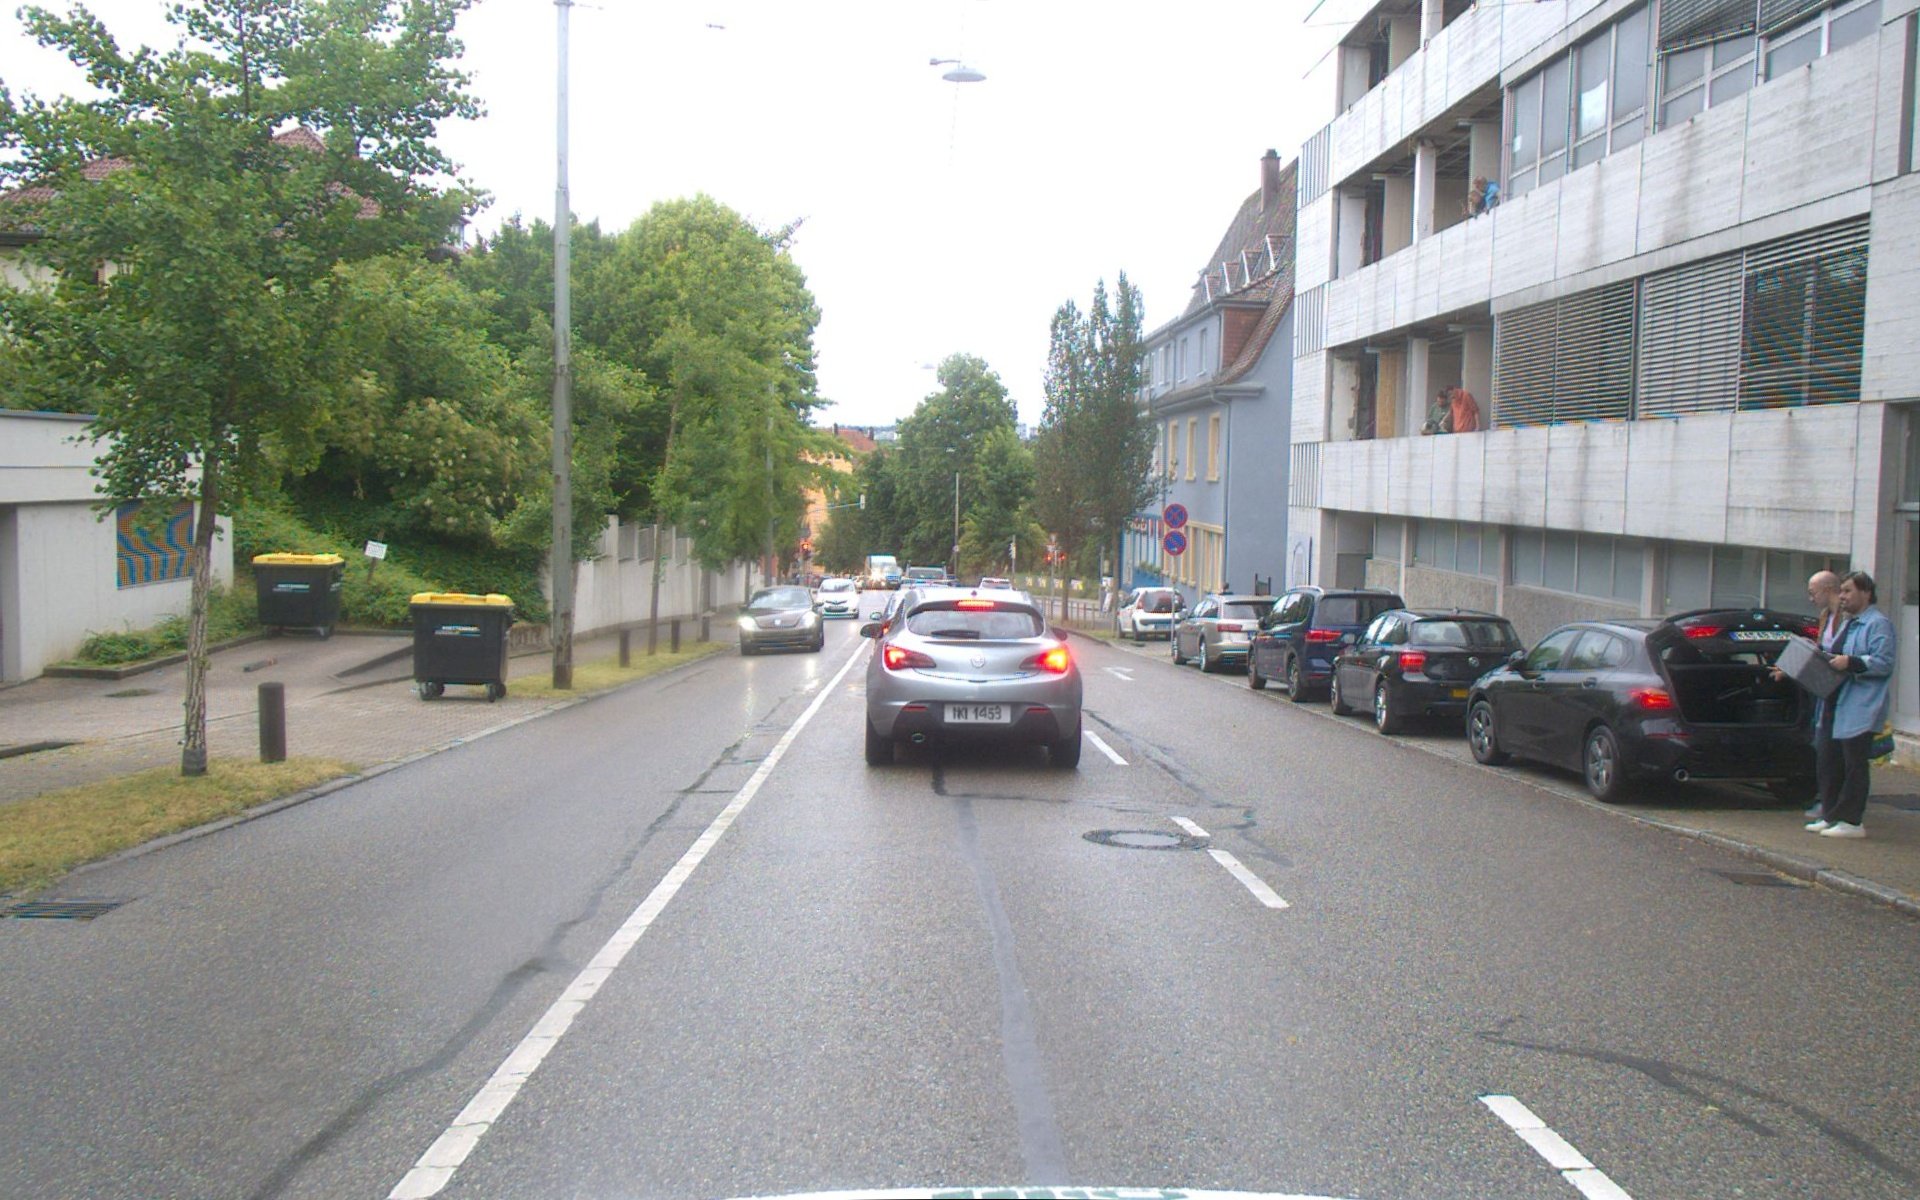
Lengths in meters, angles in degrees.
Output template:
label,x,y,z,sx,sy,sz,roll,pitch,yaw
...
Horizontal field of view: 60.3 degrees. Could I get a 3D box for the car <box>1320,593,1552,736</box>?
label,x,y,z,sx,sy,sz,roll,pitch,yaw
car,5.702,0.703,20.290,1.647,1.489,4.000,0,2,-1

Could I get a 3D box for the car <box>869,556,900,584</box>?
label,x,y,z,sx,sy,sz,roll,pitch,yaw
car,-5.419,-2.185,118.922,1.953,1.815,4.000,4,1,-1

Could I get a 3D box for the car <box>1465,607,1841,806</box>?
label,x,y,z,sx,sy,sz,roll,pitch,yaw
car,5.879,0.817,14.561,1.473,1.460,3.998,0,0,-3

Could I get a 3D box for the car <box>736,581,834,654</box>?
label,x,y,z,sx,sy,sz,roll,pitch,yaw
car,-3.967,0.361,37.977,1.812,1.494,4.087,-2,1,-1

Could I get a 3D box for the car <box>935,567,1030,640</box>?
label,x,y,z,sx,sy,sz,roll,pitch,yaw
car,0.495,0.047,40.265,1.922,1.497,3.949,4,1,-4

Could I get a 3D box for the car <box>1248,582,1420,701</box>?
label,x,y,z,sx,sy,sz,roll,pitch,yaw
car,5.552,0.557,24.998,1.651,1.598,4.000,0,2,-1

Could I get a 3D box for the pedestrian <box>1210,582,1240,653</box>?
label,x,y,z,sx,sy,sz,roll,pitch,yaw
pedestrian,6.901,0.446,43.127,0.632,1.815,0.542,1,1,-1

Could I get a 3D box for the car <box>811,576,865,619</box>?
label,x,y,z,sx,sy,sz,roll,pitch,yaw
car,-4.721,-0.130,64.491,1.786,1.504,3.863,-3,2,-1

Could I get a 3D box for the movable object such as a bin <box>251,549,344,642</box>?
label,x,y,z,sx,sy,sz,roll,pitch,yaw
movable object such as a bin,-10.531,-0.078,26.308,1.247,1.411,0.488,2,1,-4

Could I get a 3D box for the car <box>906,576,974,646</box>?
label,x,y,z,sx,sy,sz,roll,pitch,yaw
car,-0.633,0.291,49.419,1.734,1.811,3.974,4,1,-4

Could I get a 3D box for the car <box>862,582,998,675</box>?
label,x,y,z,sx,sy,sz,roll,pitch,yaw
car,-0.557,0.419,26.753,1.763,1.346,3.994,2,0,-7

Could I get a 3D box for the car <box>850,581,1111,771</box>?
label,x,y,z,sx,sy,sz,roll,pitch,yaw
car,0.038,0.581,14.935,1.908,1.457,3.879,1,1,-6

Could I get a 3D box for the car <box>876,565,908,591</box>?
label,x,y,z,sx,sy,sz,roll,pitch,yaw
car,-4.583,-1.500,111.574,1.953,1.562,4.308,4,1,-1

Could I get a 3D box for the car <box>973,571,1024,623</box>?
label,x,y,z,sx,sy,sz,roll,pitch,yaw
car,1.678,-0.189,74.392,1.954,2.071,4.734,4,1,-2

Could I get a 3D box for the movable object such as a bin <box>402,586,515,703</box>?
label,x,y,z,sx,sy,sz,roll,pitch,yaw
movable object such as a bin,-6.333,0.553,20.910,1.247,1.411,0.488,2,1,-4

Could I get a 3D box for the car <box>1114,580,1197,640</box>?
label,x,y,z,sx,sy,sz,roll,pitch,yaw
car,5.565,0.249,47.509,1.868,1.598,4.000,0,2,-1

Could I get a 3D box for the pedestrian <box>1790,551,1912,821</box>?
label,x,y,z,sx,sy,sz,roll,pitch,yaw
pedestrian,6.451,0.591,11.976,0.653,1.868,0.685,0,2,39

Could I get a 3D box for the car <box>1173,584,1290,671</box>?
label,x,y,z,sx,sy,sz,roll,pitch,yaw
car,5.274,0.488,32.570,1.552,1.519,4.290,0,2,-1

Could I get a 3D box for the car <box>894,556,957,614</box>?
label,x,y,z,sx,sy,sz,roll,pitch,yaw
car,-1.363,-0.640,65.576,2.287,2.071,4.734,4,1,-1

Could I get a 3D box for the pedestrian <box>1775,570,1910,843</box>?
label,x,y,z,sx,sy,sz,roll,pitch,yaw
pedestrian,6.019,0.688,11.267,0.722,1.753,0.763,0,2,34
